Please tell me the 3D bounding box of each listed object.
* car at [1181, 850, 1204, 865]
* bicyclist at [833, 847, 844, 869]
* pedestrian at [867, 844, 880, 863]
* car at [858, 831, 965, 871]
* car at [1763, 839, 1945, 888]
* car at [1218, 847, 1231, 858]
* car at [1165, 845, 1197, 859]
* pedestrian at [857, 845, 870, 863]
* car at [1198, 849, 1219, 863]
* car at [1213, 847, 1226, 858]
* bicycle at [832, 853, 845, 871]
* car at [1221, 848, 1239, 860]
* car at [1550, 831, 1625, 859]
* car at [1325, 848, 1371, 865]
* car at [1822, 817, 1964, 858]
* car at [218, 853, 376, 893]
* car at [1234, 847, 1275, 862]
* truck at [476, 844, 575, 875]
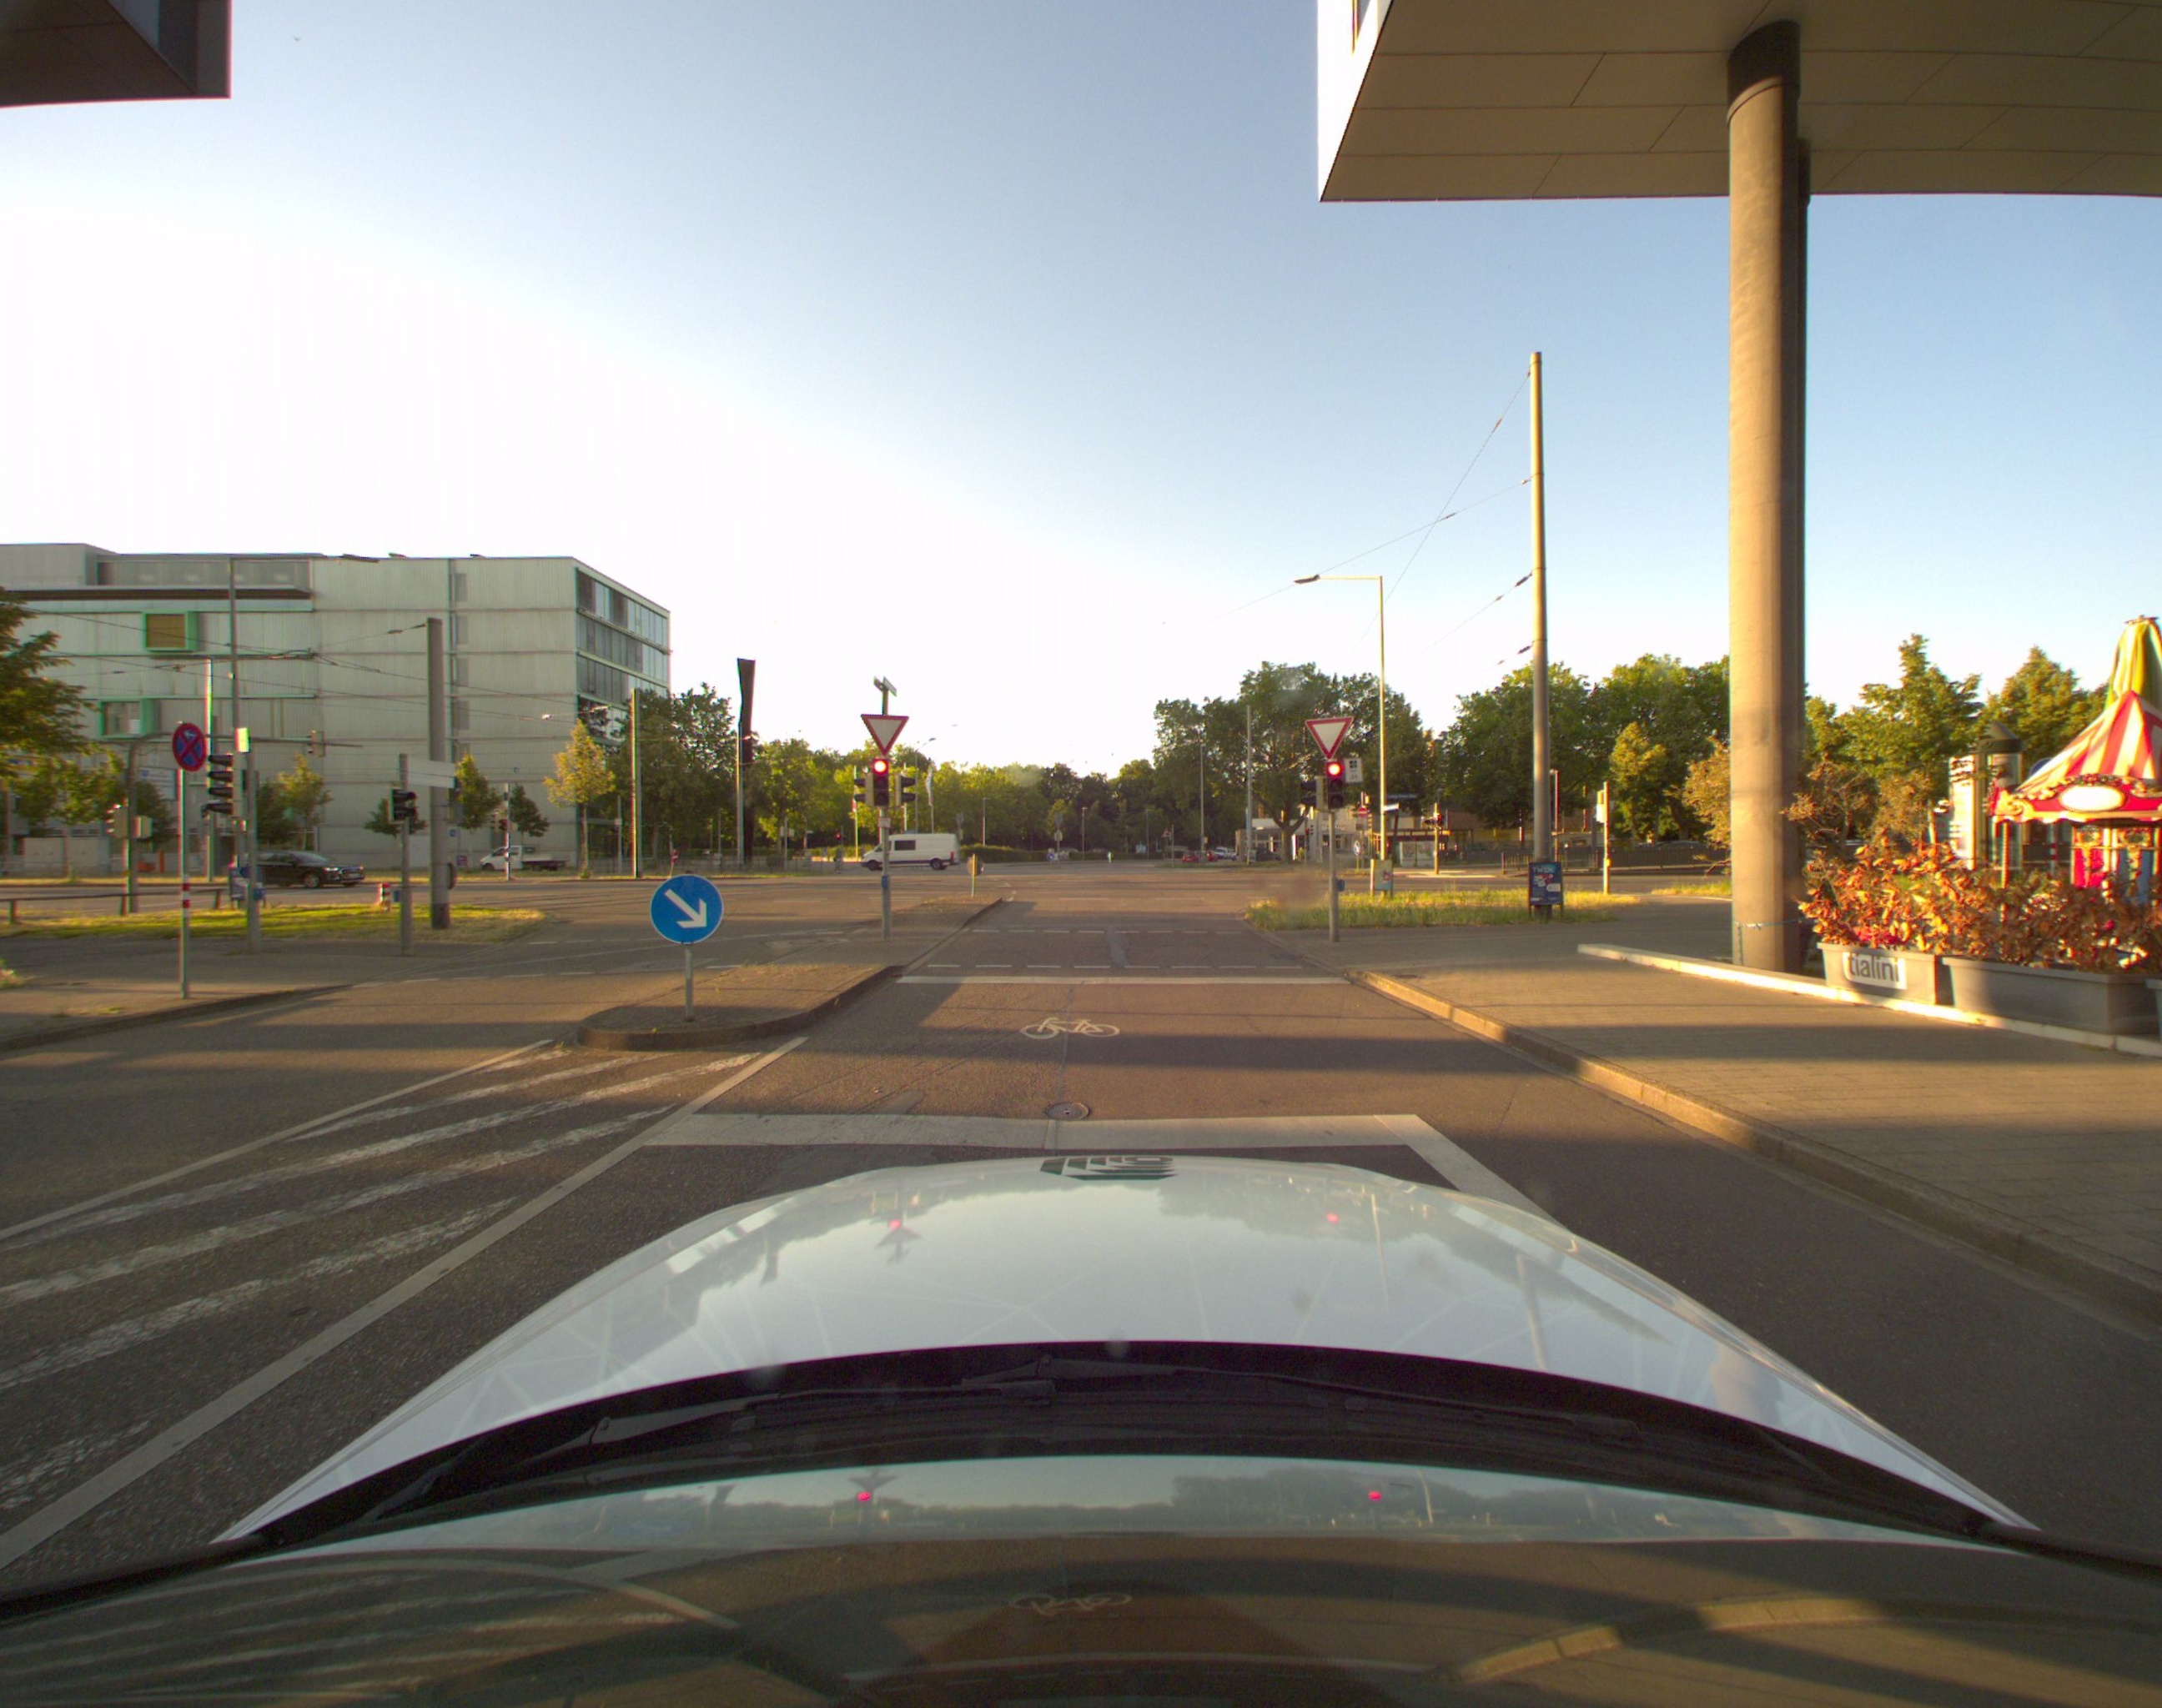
[{"bbox_3d":[13.101,0.395,95.555,1.978,1.662,4.018,-1,-1,17],"label":"car"},{"bbox_3d":[-19.009,0.294,63.874,0.753,1.709,0.914,-1,0,-21],"label":"bicyclist"},{"bbox_3d":[-20.035,-0.041,78.739,0.852,1.744,0.835,-1,0,41],"label":"pedestrian"},{"bbox_3d":[-11.938,-0.177,57.768,6.892,2.636,2.812,-1,-1,1],"label":"car"},{"bbox_3d":[26.299,0.308,27.807,4.423,1.574,1.998,-1,0,-3],"label":"car"},{"bbox_3d":[23.928,-0.233,135.733,1.849,1.794,4.015,-1,-1,14],"label":"car"},{"bbox_3d":[15.411,-0.309,125.725,4.753,2.006,2.002,-1,-1,3],"label":"car"},{"bbox_3d":[-20.809,0.003,77.952,0.835,1.744,0.852,-1,0,-43],"label":"pedestrian"},{"bbox_3d":[16.203,0.233,103.175,1.978,1.662,4.018,-1,-1,17],"label":"car"},{"bbox_3d":[22.265,-0.227,130.875,1.850,1.794,4.013,-1,-1,12],"label":"car"},{"bbox_3d":[-19.005,0.605,63.898,0.733,1.341,2.671,-1,0,-22],"label":"bicycle"},{"bbox_3d":[21.083,0.019,115.295,1.978,1.662,4.018,-1,-1,17],"label":"car"},{"bbox_3d":[47.836,-0.838,77.054,5.561,2.551,2.235,-1,0,9],"label":"car"},{"bbox_3d":[23.498,0.239,71.833,3.715,1.440,1.669,-1,-1,11],"label":"car"},{"bbox_3d":[55.780,-1.074,56.080,6.892,2.636,2.812,-1,-1,1],"label":"car"},{"bbox_3d":[-32.510,0.750,33.890,4.467,1.557,1.986,-1,0,-4],"label":"car"},{"bbox_3d":[18.919,0.028,88.896,4.194,1.552,2.005,-1,-1,9],"label":"car"},{"bbox_3d":[-39.362,0.375,57.771,5.539,2.054,2.067,-1,0,-1],"label":"truck"}]
